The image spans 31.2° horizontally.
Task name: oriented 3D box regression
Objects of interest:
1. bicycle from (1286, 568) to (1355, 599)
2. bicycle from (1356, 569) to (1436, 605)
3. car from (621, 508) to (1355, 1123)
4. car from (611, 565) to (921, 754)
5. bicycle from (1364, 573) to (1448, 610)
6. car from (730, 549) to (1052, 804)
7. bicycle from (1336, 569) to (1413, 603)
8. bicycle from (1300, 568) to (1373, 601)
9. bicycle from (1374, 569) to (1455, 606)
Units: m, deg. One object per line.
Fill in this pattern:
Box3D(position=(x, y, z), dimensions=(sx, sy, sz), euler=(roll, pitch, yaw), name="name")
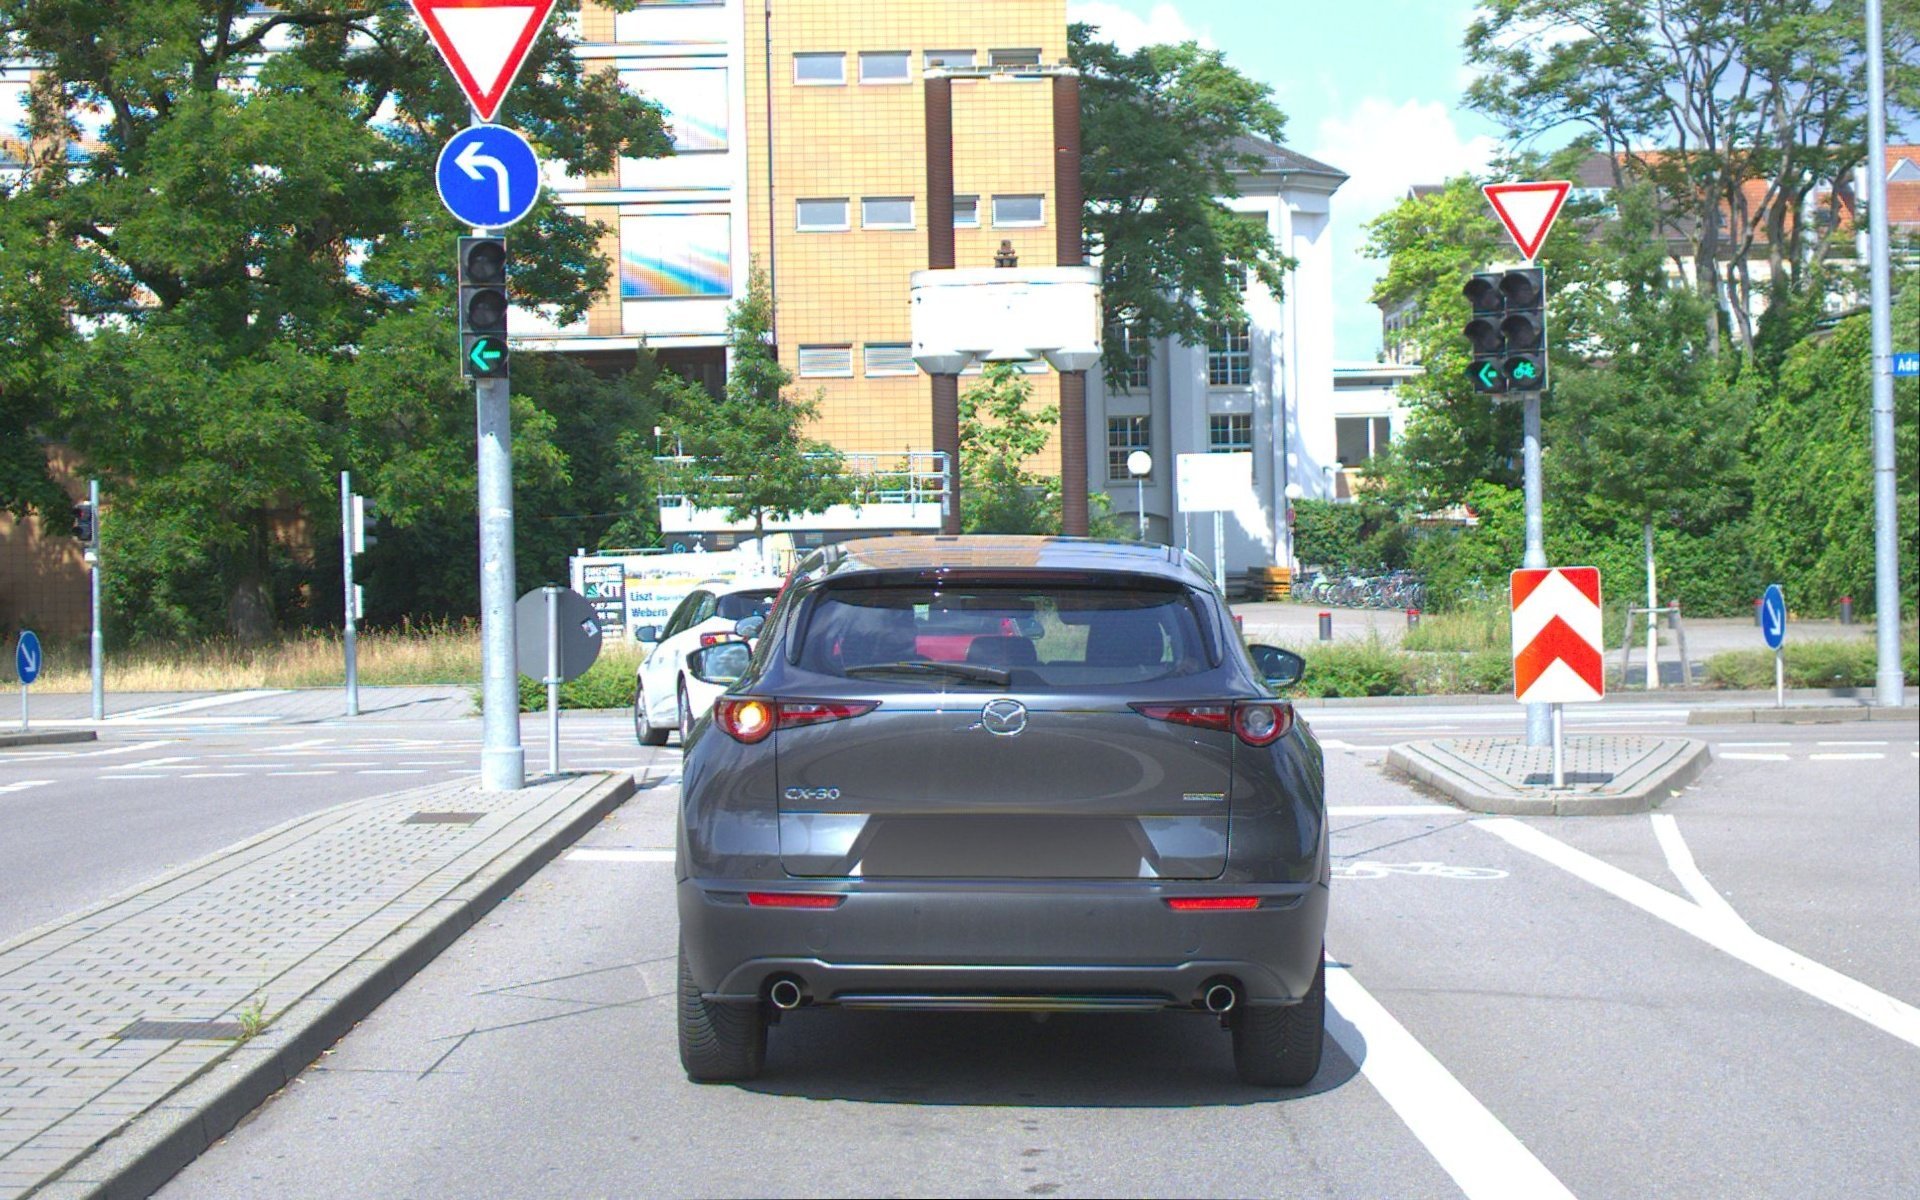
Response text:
Box3D(position=(11.226, -0.515, 107.101), dimensions=(2.055, 0.933, 0.804), euler=(-1, 0, -1), name="bicycle")
Box3D(position=(11.914, -0.357, 94.050), dimensions=(2.055, 0.933, 0.804), euler=(-1, 0, -1), name="bicycle")
Box3D(position=(0.029, 0.511, 10.716), dimensions=(1.806, 1.503, 4.205), euler=(1, 1, -1), name="car")
Box3D(position=(-1.770, 0.453, 29.855), dimensions=(1.847, 1.467, 4.336), euler=(-2, 1, -14), name="car")
Box3D(position=(11.681, -0.220, 90.053), dimensions=(2.055, 0.933, 0.804), euler=(-1, 0, -1), name="bicycle")
Box3D(position=(-0.418, 0.408, 21.536), dimensions=(1.816, 1.434, 4.067), euler=(0, 1, -1), name="car")
Box3D(position=(11.763, -0.398, 97.509), dimensions=(2.055, 0.933, 0.804), euler=(-1, 0, -1), name="bicycle")
Box3D(position=(11.204, -0.460, 102.242), dimensions=(2.055, 0.933, 0.804), euler=(-1, 0, -1), name="bicycle")
Box3D(position=(12.256, -0.337, 92.751), dimensions=(2.055, 0.933, 0.804), euler=(-1, 0, -1), name="bicycle")
